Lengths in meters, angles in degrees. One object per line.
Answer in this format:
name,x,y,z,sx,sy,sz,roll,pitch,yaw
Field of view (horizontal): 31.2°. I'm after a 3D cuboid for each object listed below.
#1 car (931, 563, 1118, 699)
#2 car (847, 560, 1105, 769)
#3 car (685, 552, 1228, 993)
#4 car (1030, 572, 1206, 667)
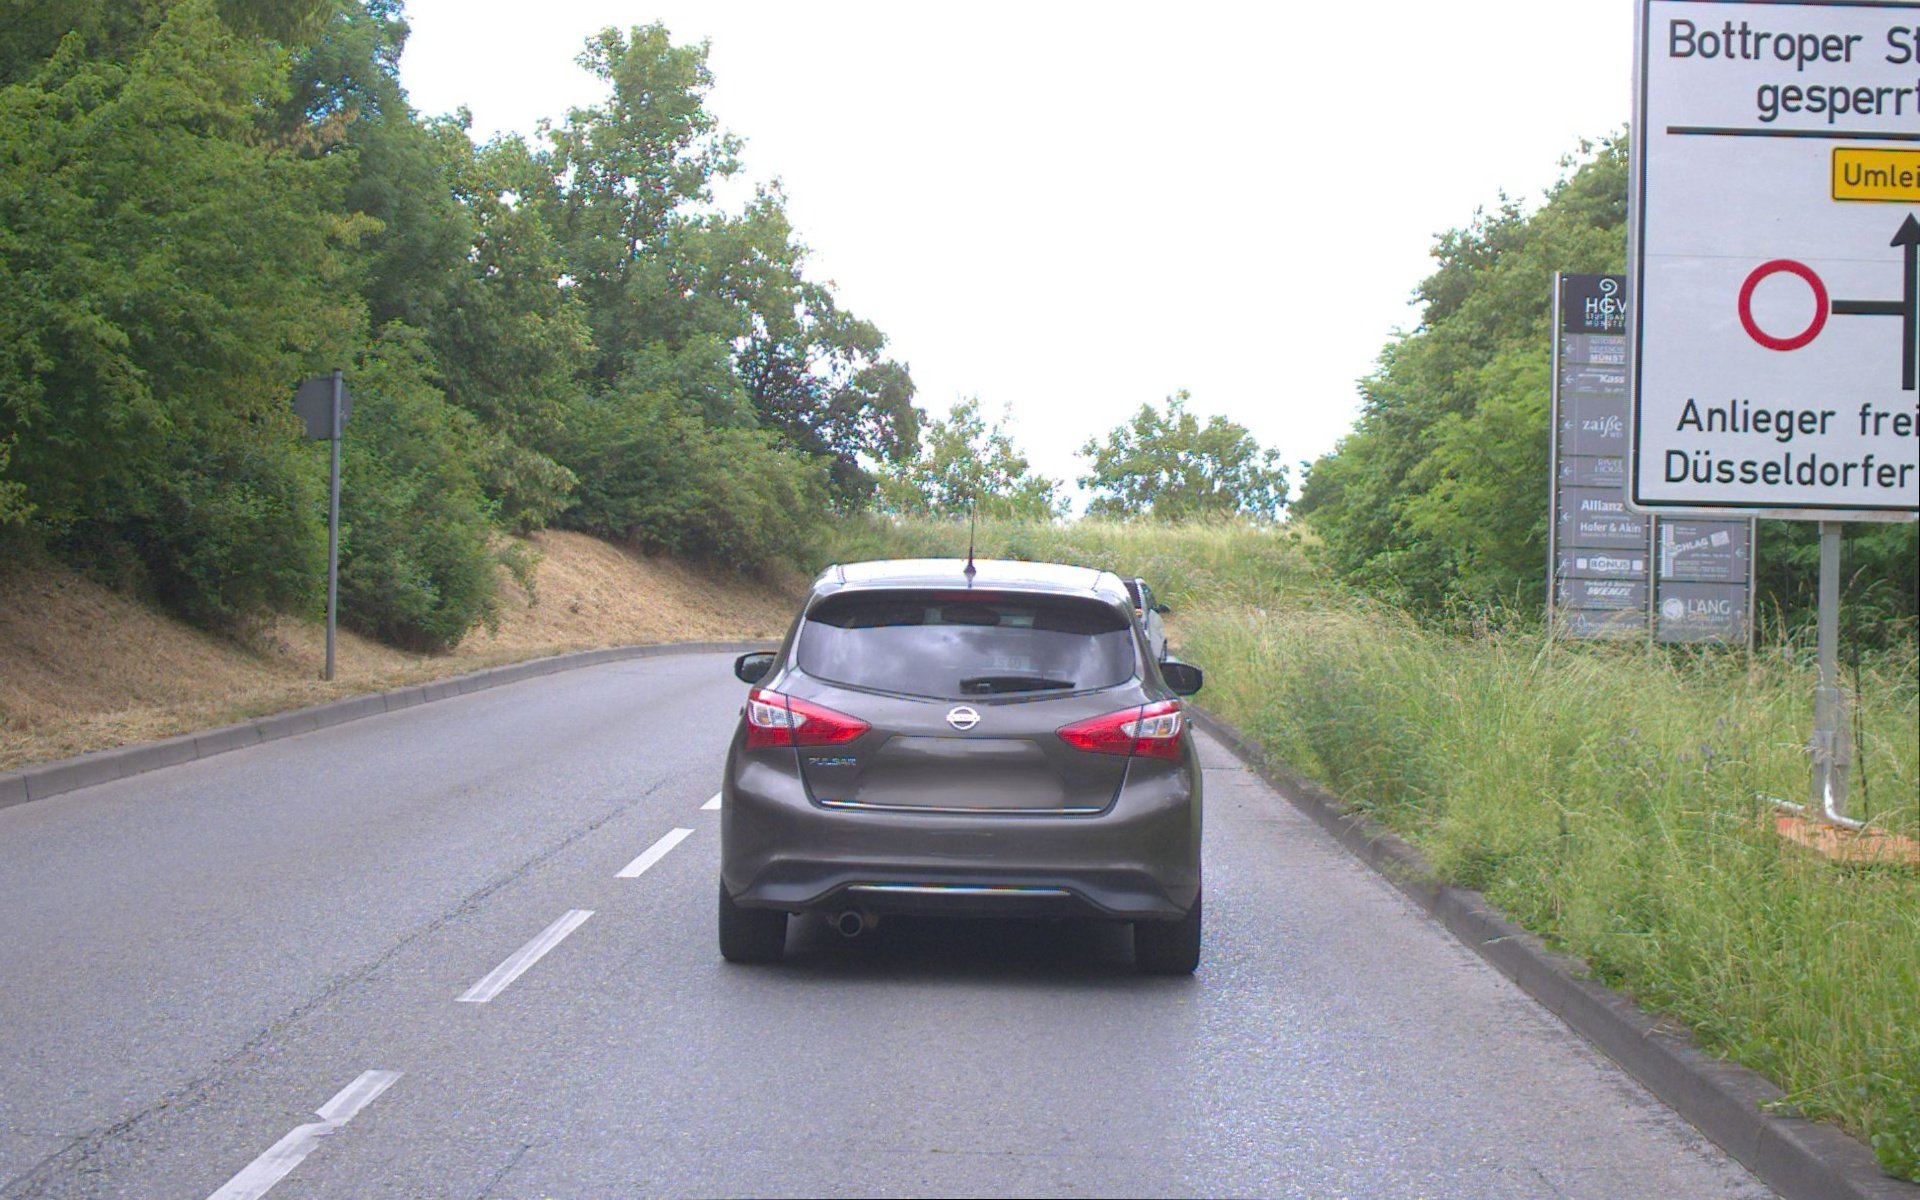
car,0.797,0.322,40.022,1.721,1.489,3.575,1,1,9
car,0.047,0.446,27.026,1.844,1.488,4.228,0,1,-2
car,-0.075,0.578,13.864,1.844,1.488,4.000,1,1,-2
car,2.511,0.269,53.658,1.799,1.393,3.997,1,1,17
